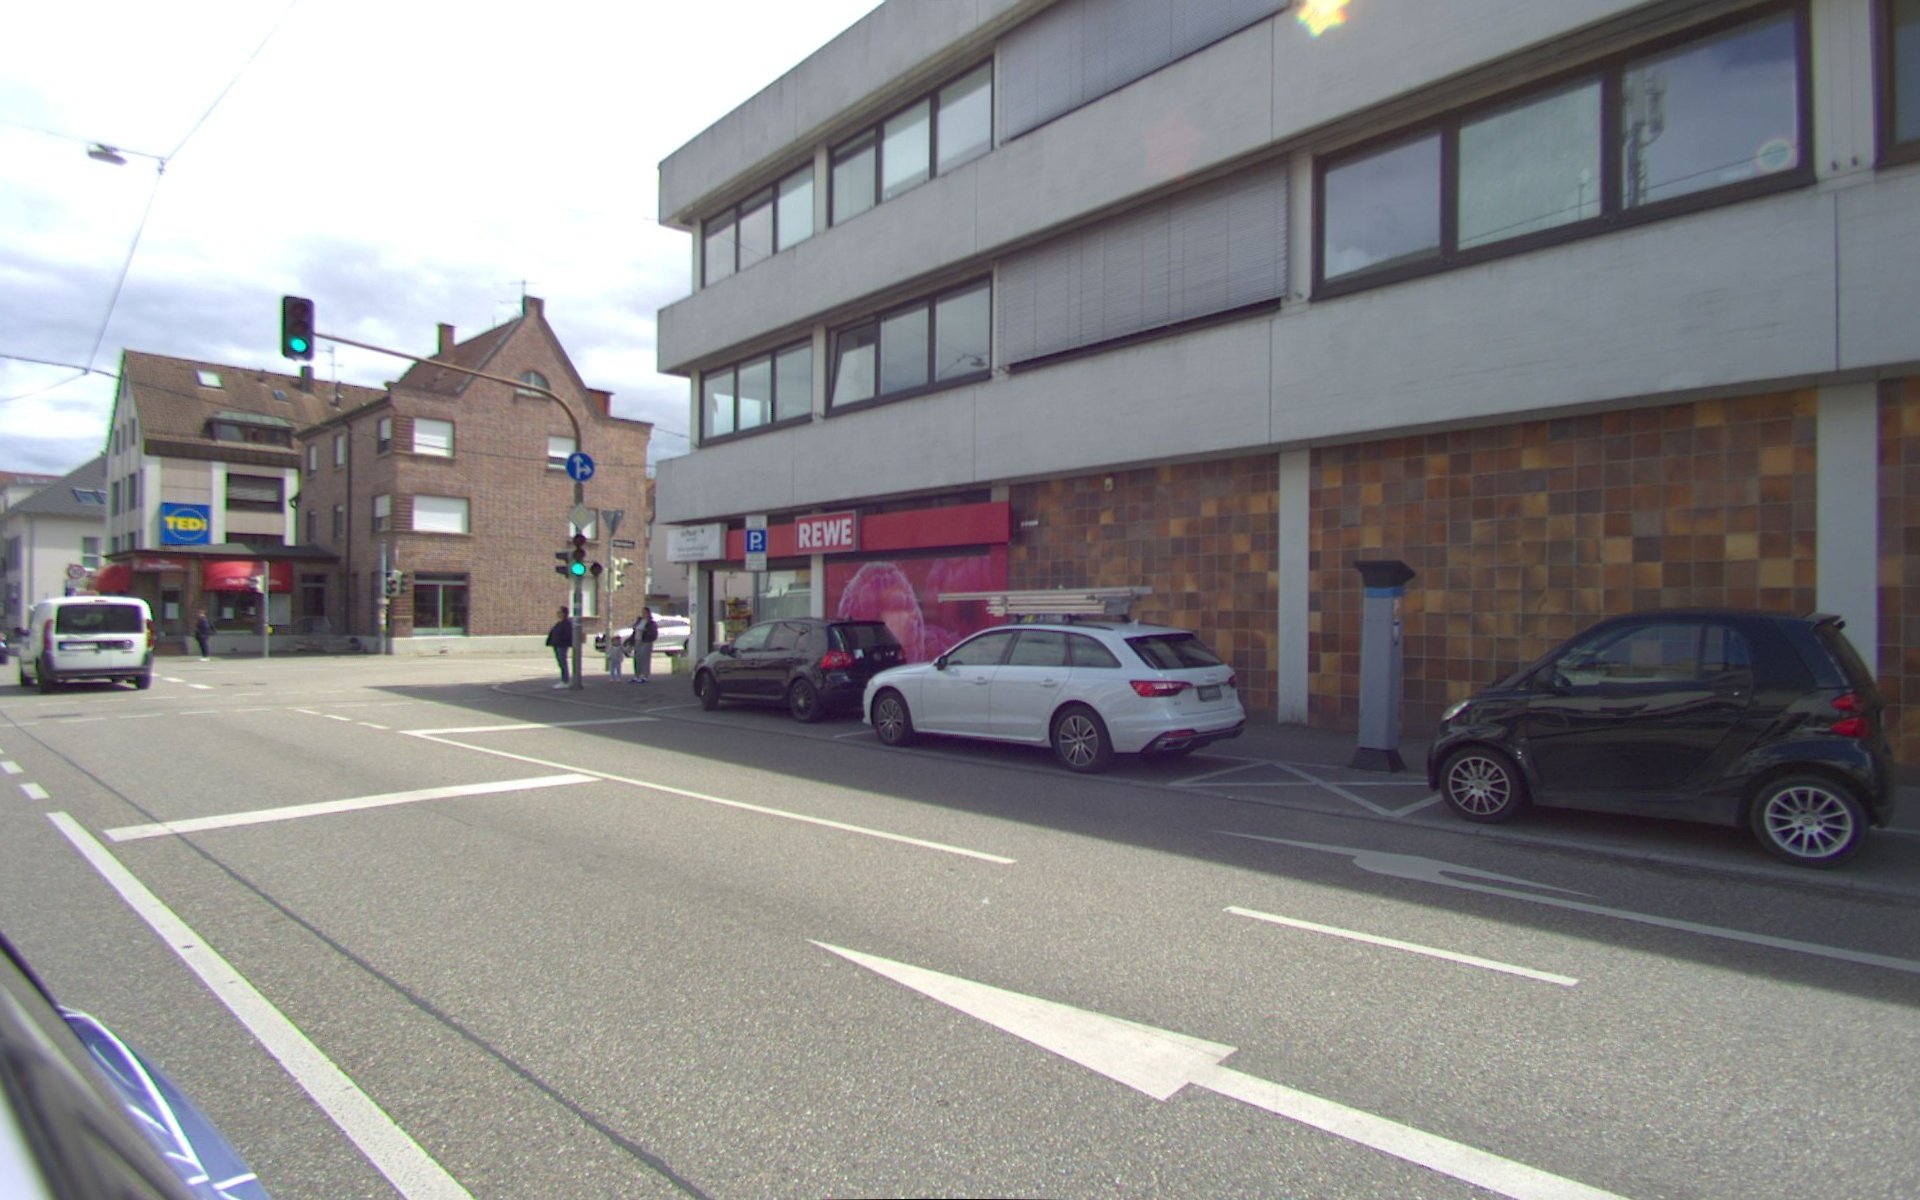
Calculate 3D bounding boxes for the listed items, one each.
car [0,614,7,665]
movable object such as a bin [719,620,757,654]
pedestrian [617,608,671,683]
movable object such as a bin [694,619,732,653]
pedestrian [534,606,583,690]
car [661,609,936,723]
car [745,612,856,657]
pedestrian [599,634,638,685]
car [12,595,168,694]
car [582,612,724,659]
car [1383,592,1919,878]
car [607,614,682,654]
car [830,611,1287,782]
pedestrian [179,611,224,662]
[{"bbox_3d":[-32.776,1.292,33.376,2.832,1.648,1.659,-1,-2,41],"label":"car"},{"bbox_3d":[-11.119,1.823,50.644,1.498,1.637,1.146,-1,0,-45],"label":"movable object such as a bin"},{"bbox_3d":[-6.840,0.961,21.913,0.809,1.566,0.847,-1,-1,-42],"label":"pedestrian"},{"bbox_3d":[-12.667,1.837,51.964,1.498,1.637,1.146,-1,0,-45],"label":"movable object such as a bin"},{"bbox_3d":[-8.139,0.952,20.511,0.709,1.657,0.682,-1,-1,-43],"label":"pedestrian"},{"bbox_3d":[-2.587,0.918,15.599,4.286,1.486,2.021,-1,-1,44],"label":"car"},{"bbox_3d":[-6.620,1.449,42.359,2.000,1.768,4.290,-1,-2,42],"label":"car"},{"bbox_3d":[-7.309,1.262,21.656,0.552,1.065,0.663,-1,-1,-42],"label":"pedestrian"},{"bbox_3d":[-18.066,0.876,20.953,4.277,1.835,1.924,-1,-2,42],"label":"car"},{"bbox_3d":[-12.354,1.421,40.952,2.001,1.782,5.183,-2,-3,45],"label":"car"},{"bbox_3d":[4.890,0.758,7.170,1.716,1.567,3.058,0,-1,-44],"label":"car"},{"bbox_3d":[-15.282,1.638,48.916,3.701,1.877,1.844,-1,-2,42],"label":"car"},{"bbox_3d":[0.858,0.889,11.303,2.020,1.455,4.956,0,-1,-44],"label":"car"},{"bbox_3d":[-26.332,1.257,35.156,0.839,1.736,0.906,0,-2,1],"label":"pedestrian"}]
